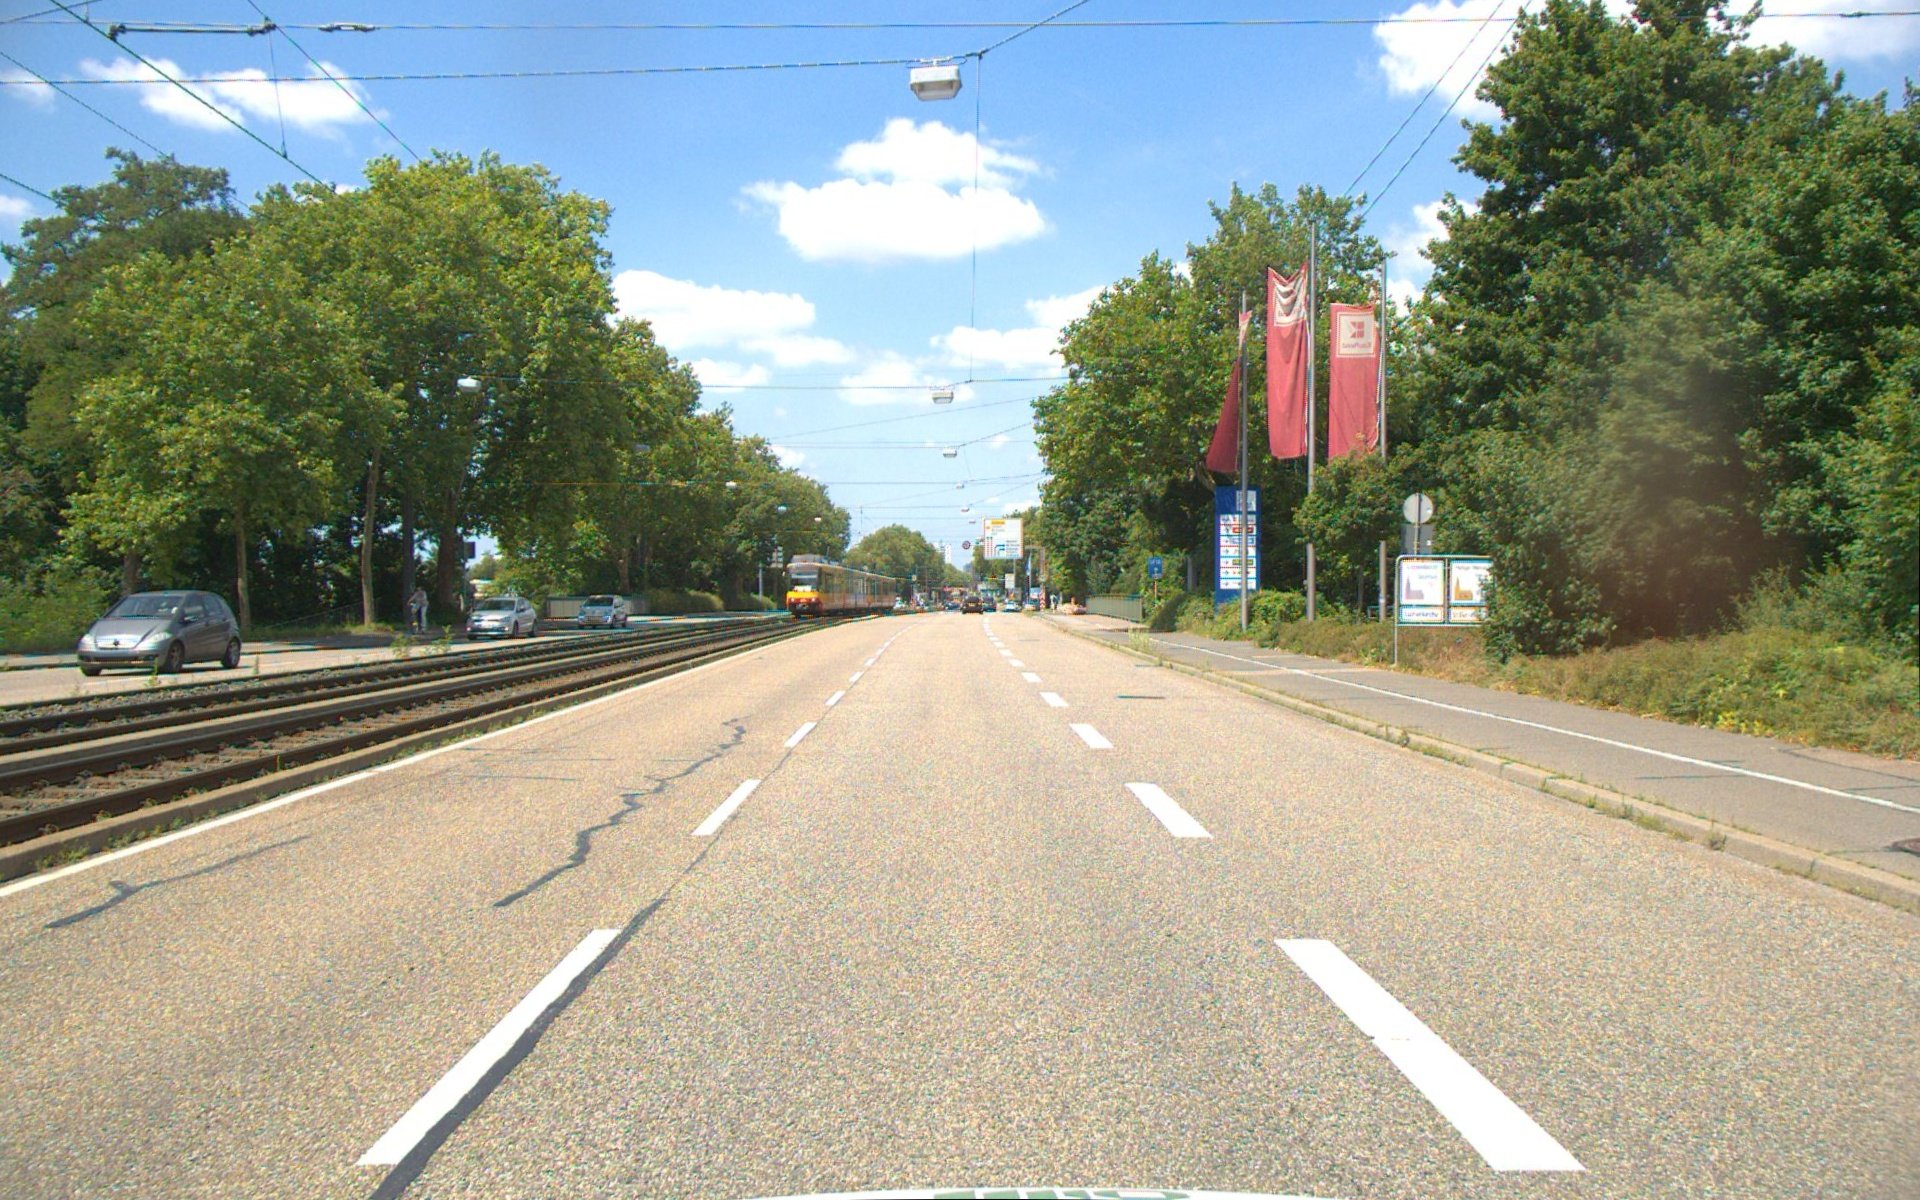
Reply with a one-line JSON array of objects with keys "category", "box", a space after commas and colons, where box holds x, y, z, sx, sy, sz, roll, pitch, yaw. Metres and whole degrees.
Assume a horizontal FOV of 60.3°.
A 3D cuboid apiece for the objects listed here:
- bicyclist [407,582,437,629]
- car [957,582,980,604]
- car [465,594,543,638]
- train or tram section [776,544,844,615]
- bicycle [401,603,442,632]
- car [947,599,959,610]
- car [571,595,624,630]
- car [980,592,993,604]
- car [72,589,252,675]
[{"category": "bicyclist", "box": [-19.243, 0.185, 59.184, 0.609, 1.645, 1.062, 2, 0, 5]}, {"category": "car", "box": [0.699, -0.628, 144.533, 1.861, 1.837, 3.975, 2, 0, -1]}, {"category": "car", "box": [-16.000, 0.545, 58.211, 1.603, 1.446, 4.127, -1, 0, 0]}, {"category": "train or tram section", "box": [-9.822, -1.297, 109.997, 2.985, 4.342, 15.423, 0, 0, 0]}, {"category": "bicycle", "box": [-19.271, 0.608, 59.245, 0.609, 0.996, 2.056, 2, 0, 5]}, {"category": "car", "box": [-1.029, 0.634, 247.149, 1.805, 1.577, 3.776, 2, 0, -1]}, {"category": "car", "box": [-16.180, 0.547, 73.994, 1.603, 1.461, 3.720, -2, 0, -1]}, {"category": "car", "box": [3.898, -0.281, 242.702, 1.838, 1.566, 3.776, 2, 0, -1]}, {"category": "car", "box": [-15.774, 0.589, 32.909, 1.717, 1.562, 3.956, -1, 0, -2]}]
